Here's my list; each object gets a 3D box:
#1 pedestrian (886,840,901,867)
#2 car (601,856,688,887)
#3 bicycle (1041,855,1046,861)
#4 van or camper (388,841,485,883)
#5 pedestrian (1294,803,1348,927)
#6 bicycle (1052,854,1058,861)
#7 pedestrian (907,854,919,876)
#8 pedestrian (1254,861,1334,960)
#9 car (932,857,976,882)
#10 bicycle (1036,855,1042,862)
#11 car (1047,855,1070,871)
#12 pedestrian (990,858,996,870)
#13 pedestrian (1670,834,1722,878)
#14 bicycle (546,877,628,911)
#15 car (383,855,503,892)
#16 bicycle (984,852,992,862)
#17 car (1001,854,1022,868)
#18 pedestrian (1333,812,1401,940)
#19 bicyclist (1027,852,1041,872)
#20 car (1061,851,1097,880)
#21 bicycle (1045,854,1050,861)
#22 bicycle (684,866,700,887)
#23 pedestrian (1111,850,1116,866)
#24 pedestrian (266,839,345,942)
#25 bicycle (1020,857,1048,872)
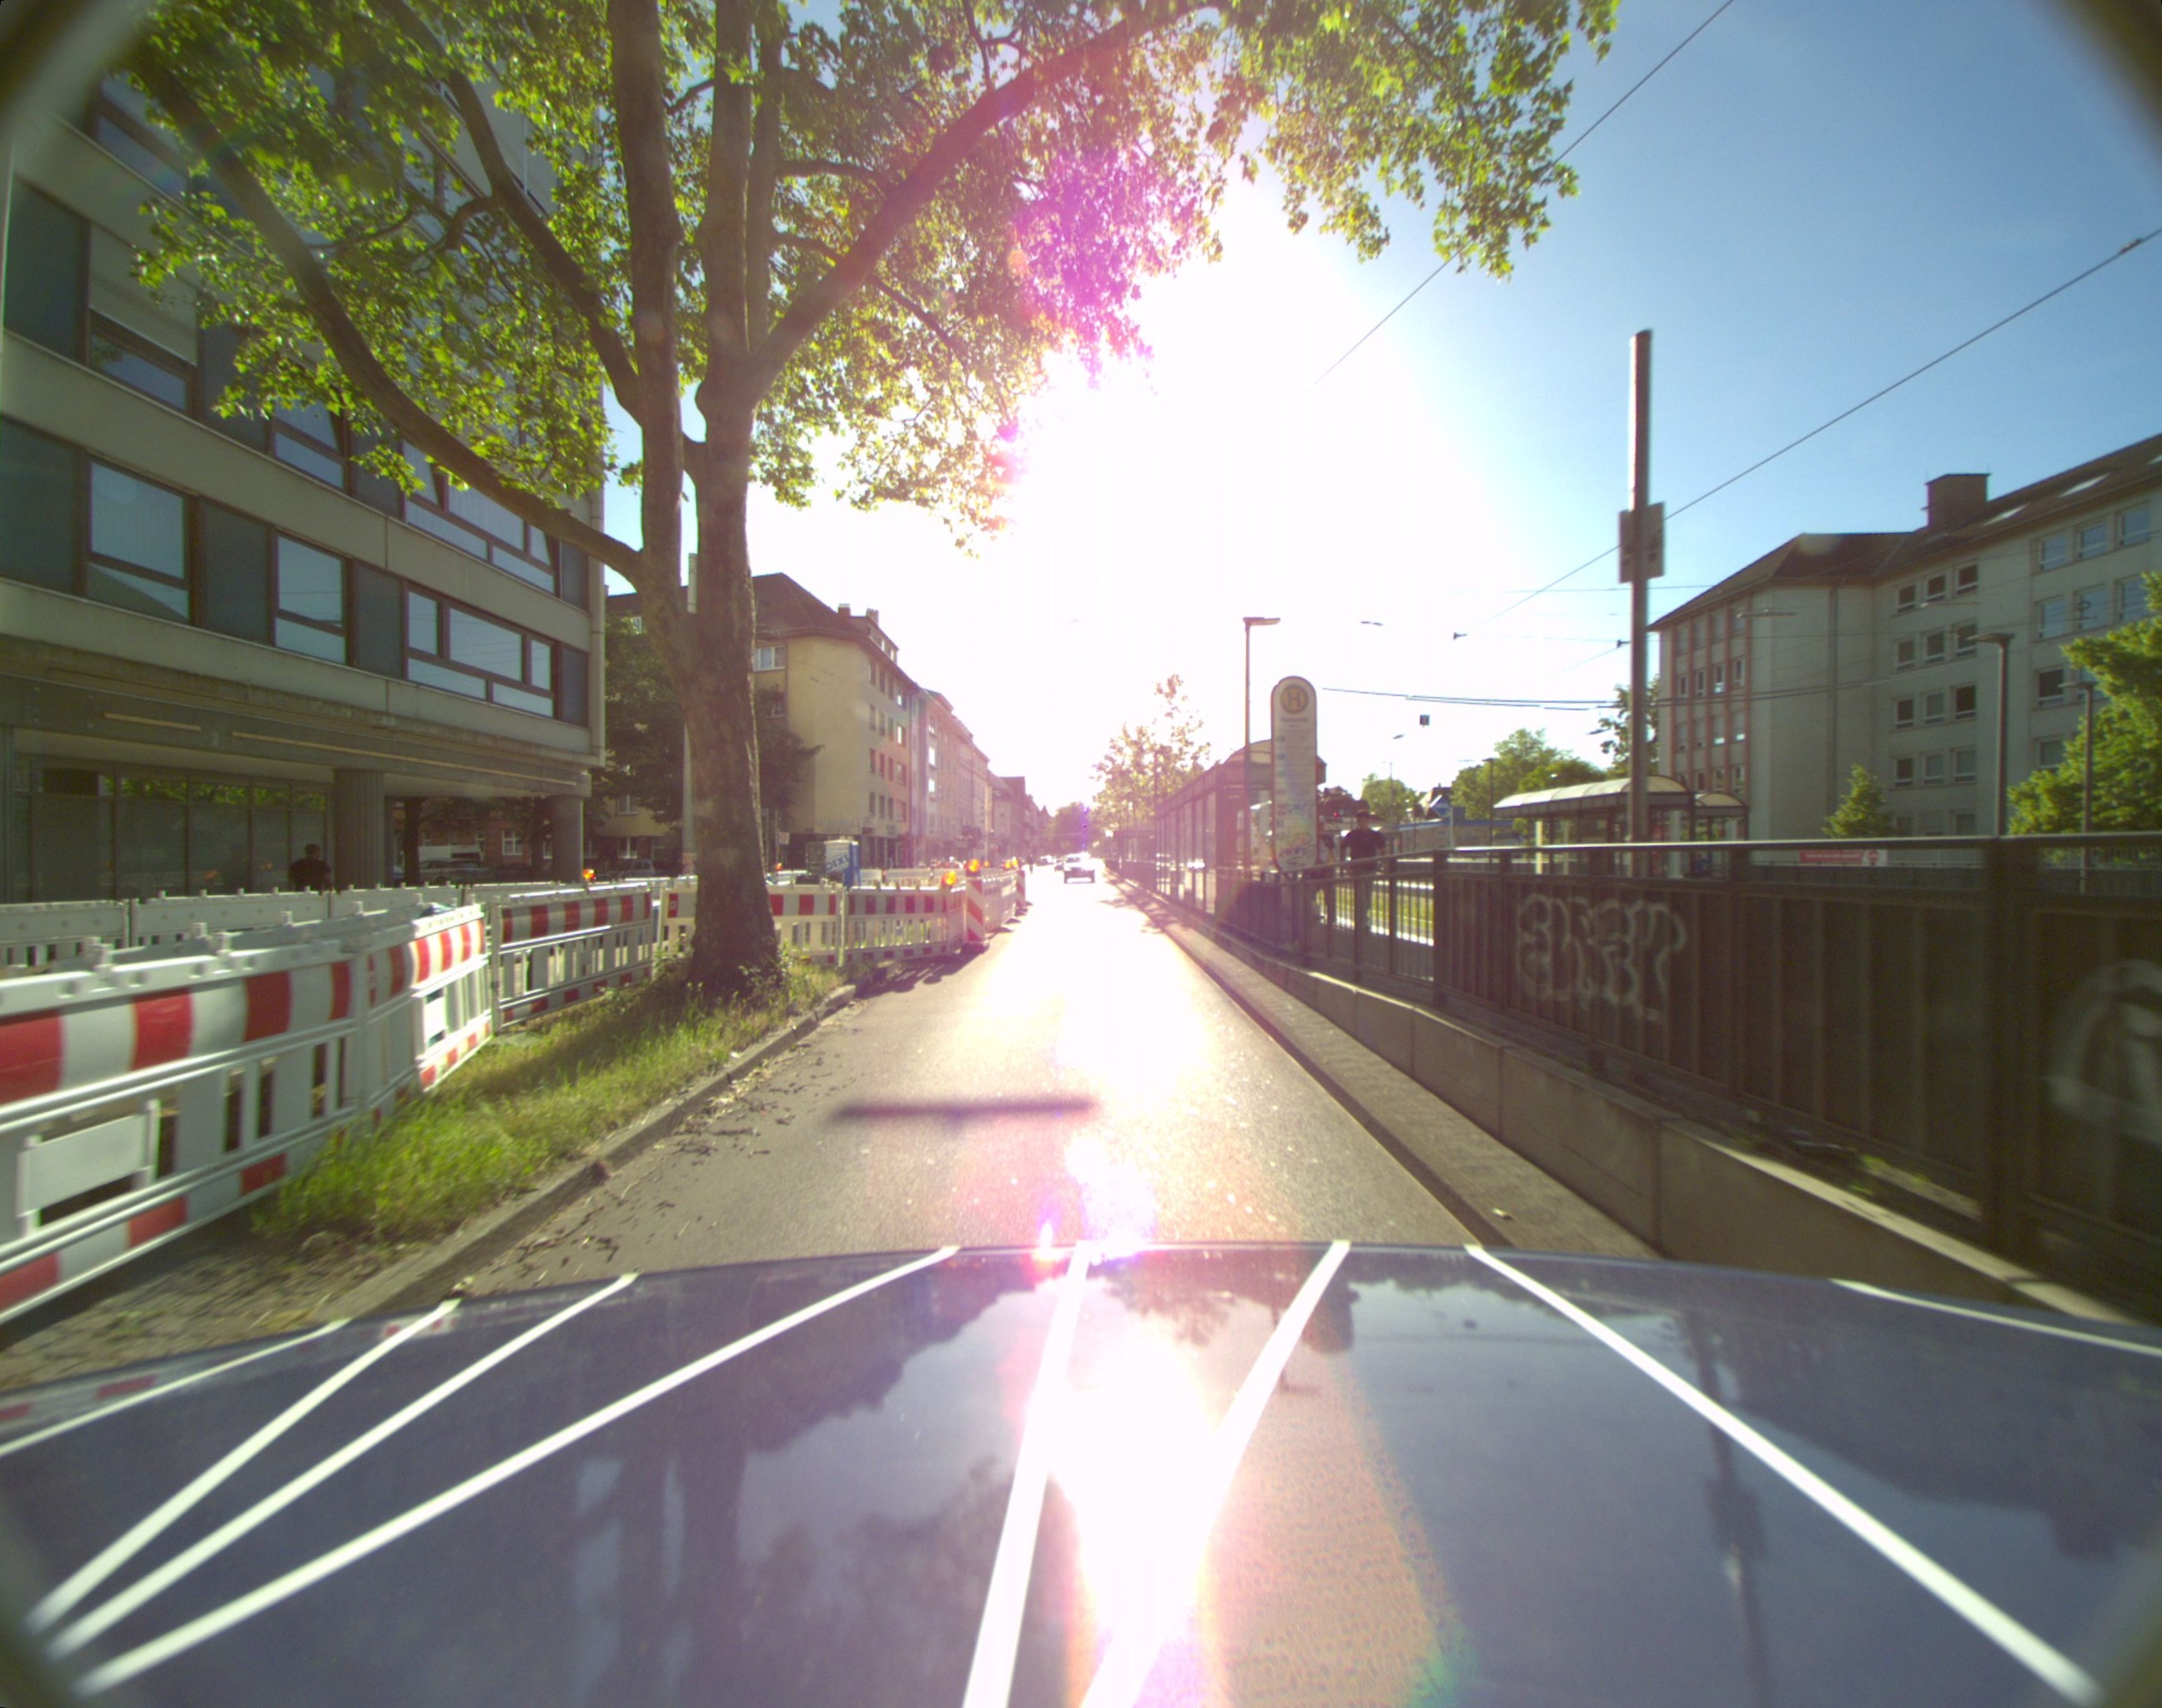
[{"bbox_3d":[-12.890,-0.040,52.144,0.730,1.844,0.901,1,1,3],"label":"pedestrian"},{"bbox_3d":[-24.548,0.965,42.757,4.238,1.632,2.003,0,0,21],"label":"car"},{"bbox_3d":[-6.854,0.720,139.733,0.693,1.208,2.299,0,0,5],"label":"bicycle"},{"bbox_3d":[-40.451,0.496,47.715,5.342,2.533,2.102,0,1,18],"label":"van or camper"},{"bbox_3d":[3.981,0.182,12.633,0.669,2.002,0.716,-1,1,2],"label":"pedestrian"},{"bbox_3d":[-4.772,0.677,139.353,0.693,1.208,2.299,0,0,5],"label":"bicycle"},{"bbox_3d":[-11.599,0.742,52.545,0.672,1.498,0.652,-1,1,1],"label":"pedestrian"},{"bbox_3d":[2.643,0.680,9.495,0.754,1.172,0.812,-1,1,0],"label":"pedestrian"},{"bbox_3d":[-8.183,0.969,49.582,1.876,1.434,5.159,0,0,1],"label":"car"},{"bbox_3d":[-7.691,0.888,140.018,0.693,1.208,2.299,0,0,5],"label":"bicycle"},{"bbox_3d":[-2.315,0.962,80.349,1.998,1.594,4.273,0,0,4],"label":"car"},{"bbox_3d":[-11.995,1.341,103.258,0.663,1.680,0.677,-1,1,0],"label":"pedestrian"},{"bbox_3d":[19.942,0.064,24.668,0.977,1.368,0.879,-1,1,0],"label":"pedestrian"},{"bbox_3d":[-14.748,1.175,22.682,2.030,0.937,1.019,-1,0,20],"label":"bicycle"},{"bbox_3d":[-27.498,0.805,32.783,4.368,1.477,1.993,0,0,19],"label":"car"},{"bbox_3d":[-11.351,0.352,92.514,0.697,1.102,1.863,-1,0,-14],"label":"bicycle"},{"bbox_3d":[-7.708,0.787,84.901,1.904,1.421,4.715,-2,0,-1],"label":"car"},{"bbox_3d":[4.115,0.313,10.971,0.683,1.773,0.754,-1,1,2],"label":"pedestrian"},{"bbox_3d":[-4.411,0.742,70.731,1.005,1.872,0.991,-1,1,-26],"label":"bicyclist"},{"bbox_3d":[-0.063,0.663,46.206,1.979,1.660,4.620,-1,0,2],"label":"car"},{"bbox_3d":[-6.140,0.682,139.698,0.693,1.208,2.299,0,0,5],"label":"bicycle"},{"bbox_3d":[-21.220,1.214,41.462,0.369,1.076,1.824,-1,0,-13],"label":"bicycle"},{"bbox_3d":[3.939,0.484,91.587,0.637,1.817,0.776,0,1,3],"label":"pedestrian"},{"bbox_3d":[-13.904,0.638,13.646,0.691,1.805,0.665,-1,1,0],"label":"pedestrian"},{"bbox_3d":[-4.380,1.012,70.766,2.382,1.349,1.020,-1,1,-26],"label":"bicycle"}]
